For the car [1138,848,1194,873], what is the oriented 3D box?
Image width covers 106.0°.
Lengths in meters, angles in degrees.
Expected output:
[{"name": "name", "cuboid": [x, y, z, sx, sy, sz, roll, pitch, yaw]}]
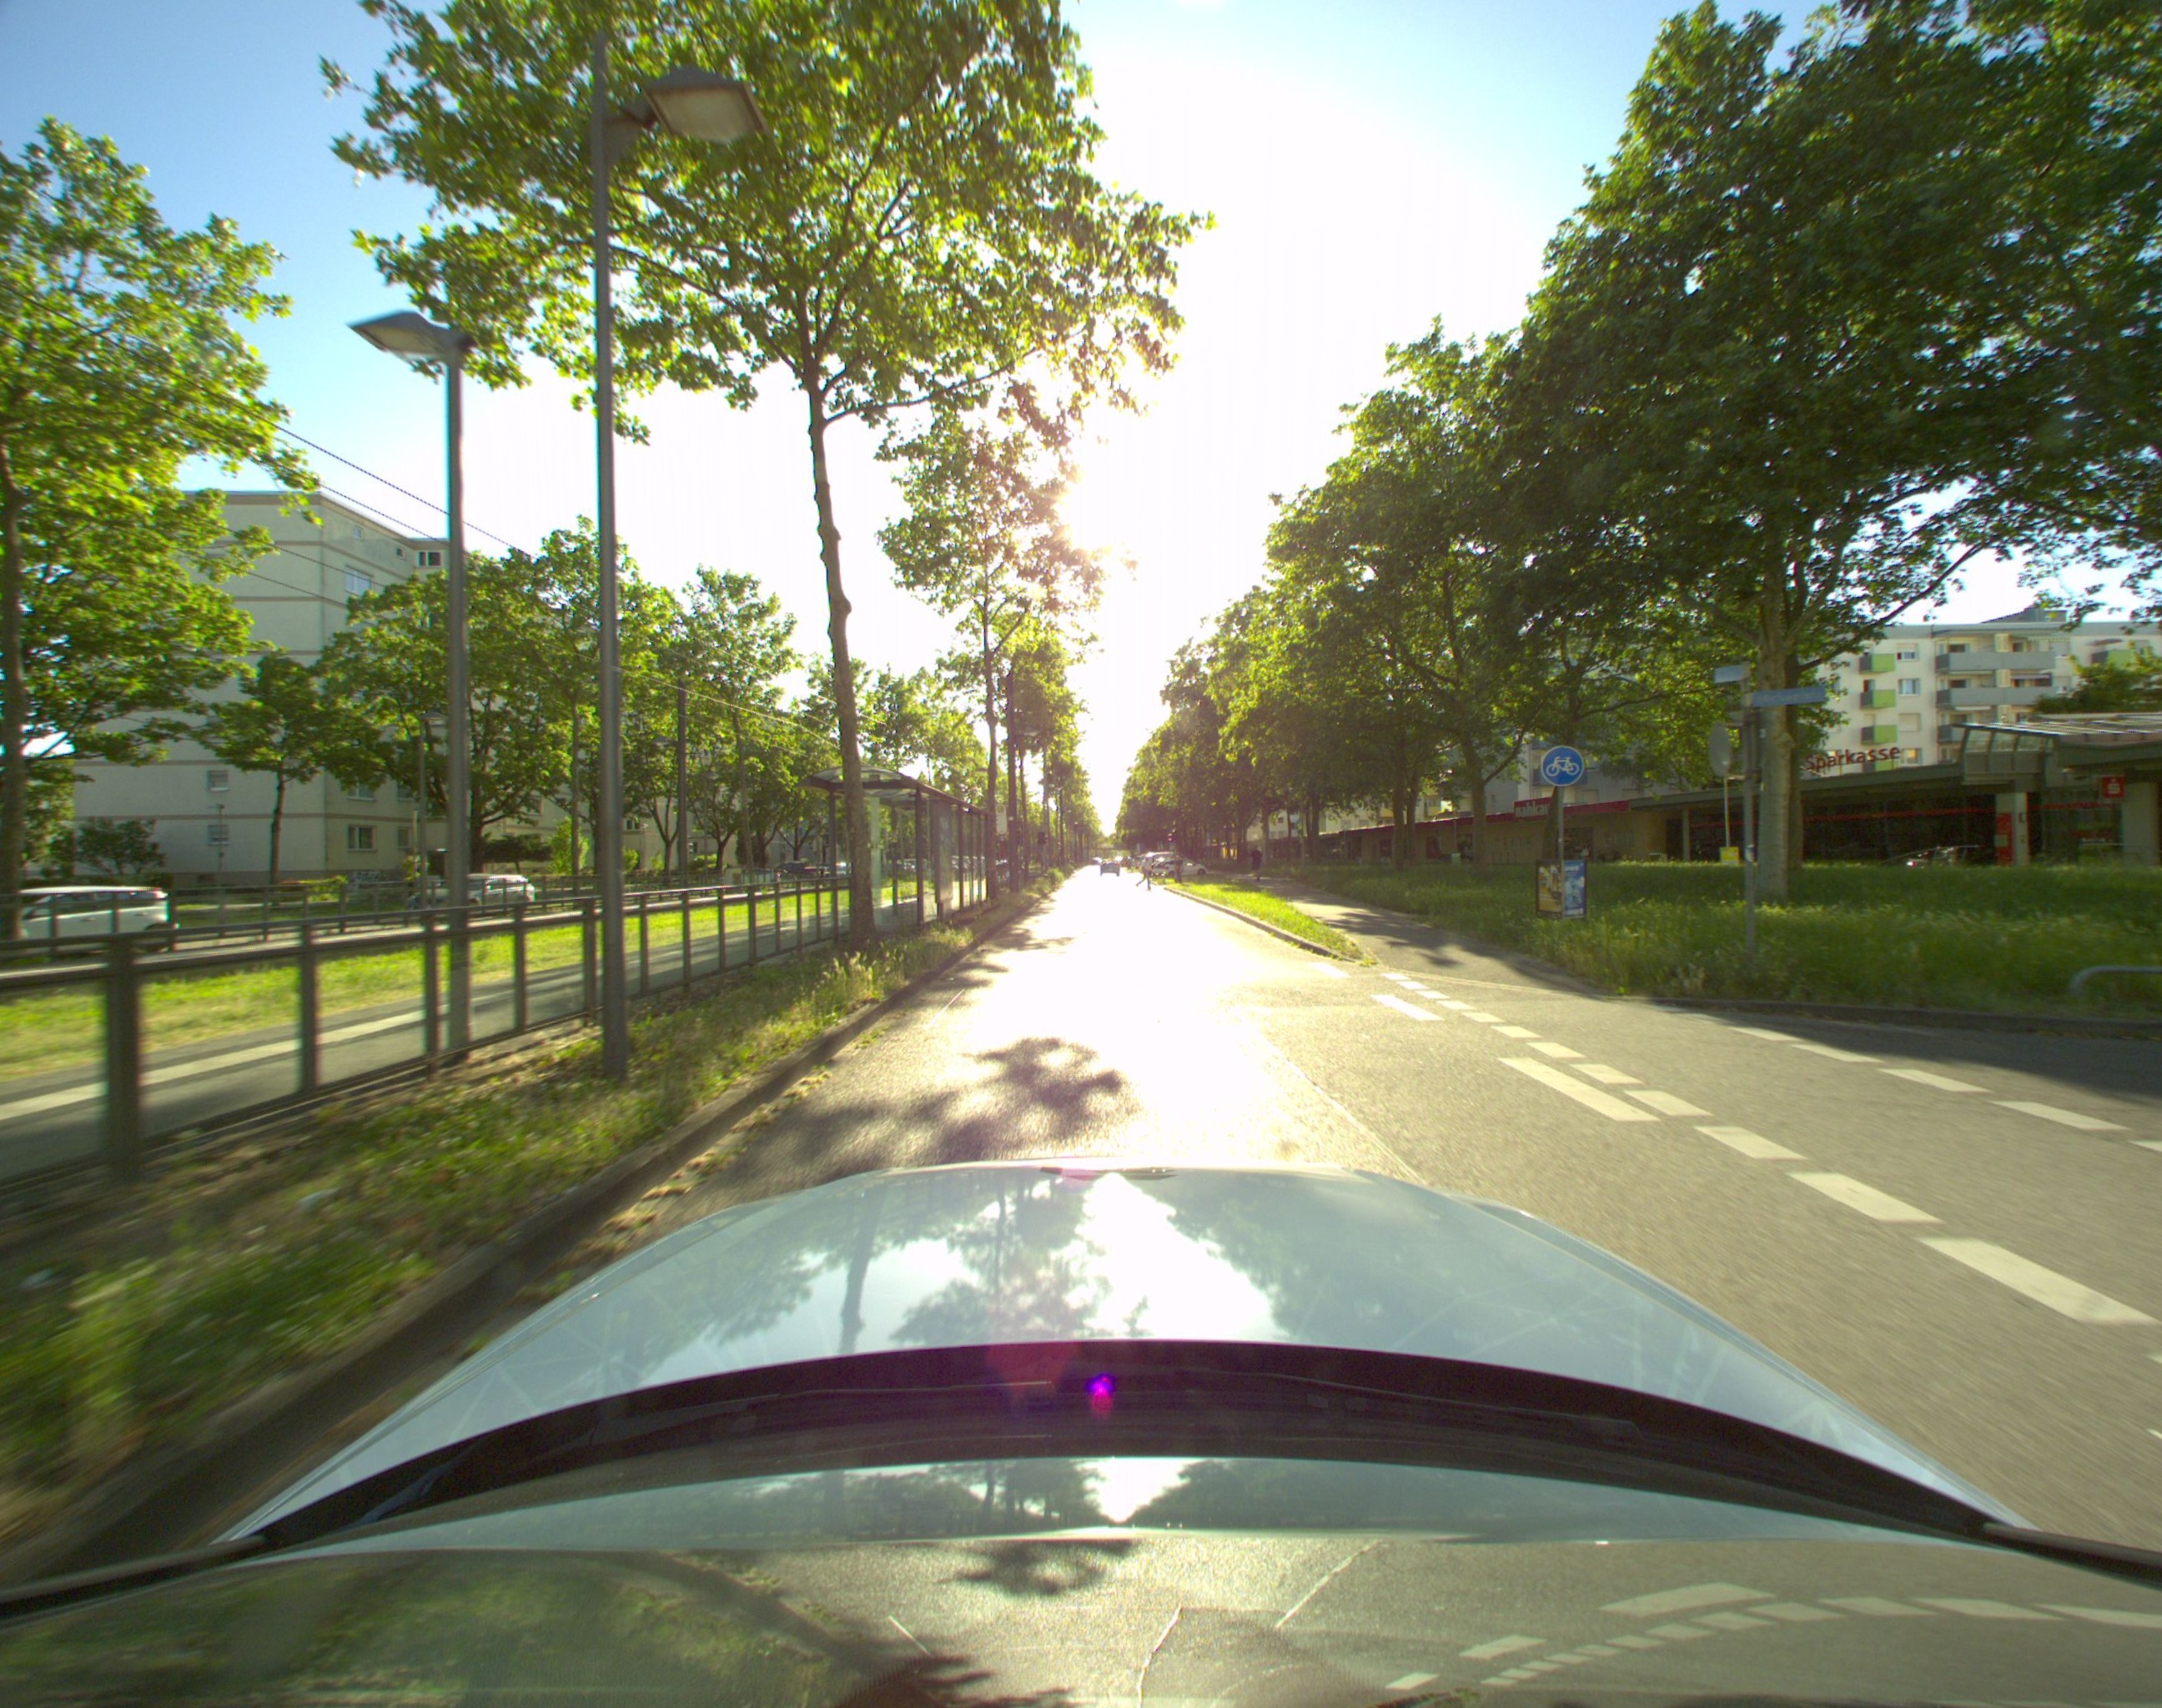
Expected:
[{"name": "car", "cuboid": [7.051, 0.507, 67.409, 4.694, 1.853, 1.809, -2, -1, -39]}]

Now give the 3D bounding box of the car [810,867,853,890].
[{"name": "car", "cuboid": [-18.162, 1.770, 59.362, 1.707, 1.546, 3.936, -1, 0, 3]}]

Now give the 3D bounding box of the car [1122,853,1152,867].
[{"name": "car", "cuboid": [7.854, 0.836, 113.786, 4.106, 1.811, 1.632, -2, -1, -39]}]

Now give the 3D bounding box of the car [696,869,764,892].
[{"name": "car", "cuboid": [-23.744, 1.777, 55.166, 1.817, 1.435, 3.849, -2, 0, 42]}]

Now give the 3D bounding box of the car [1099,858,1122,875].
[{"name": "car", "cuboid": [2.557, 1.065, 72.002, 1.915, 1.411, 4.000, 0, 0, 1]}]

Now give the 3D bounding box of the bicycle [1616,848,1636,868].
[{"name": "bicycle", "cuboid": [31.500, 0.232, 47.103, 0.592, 1.179, 1.861, 0, 0, 23]}]

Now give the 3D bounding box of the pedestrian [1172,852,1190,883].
[{"name": "pedestrian", "cuboid": [5.639, 0.744, 45.940, 0.715, 1.706, 0.647, -2, -1, -33]}]

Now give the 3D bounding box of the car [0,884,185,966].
[{"name": "car", "cuboid": [-22.595, 1.507, 17.701, 1.706, 1.546, 3.937, -1, 0, 4]}]

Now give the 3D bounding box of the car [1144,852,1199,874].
[{"name": "car", "cuboid": [7.105, 0.715, 63.751, 4.011, 1.429, 1.782, -4, 0, -31]}]

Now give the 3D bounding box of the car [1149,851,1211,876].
[{"name": "car", "cuboid": [6.958, 0.678, 57.221, 4.011, 1.469, 1.743, -4, 0, -31]}]

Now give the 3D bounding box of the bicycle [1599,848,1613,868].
[{"name": "bicycle", "cuboid": [31.346, 0.241, 48.632, 0.591, 1.179, 1.862, 0, -1, 29]}]

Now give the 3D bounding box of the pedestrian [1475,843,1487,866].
[{"name": "pedestrian", "cuboid": [29.389, 0.035, 59.796, 0.494, 1.700, 0.715, -1, 0, -4]}]

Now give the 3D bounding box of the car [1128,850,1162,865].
[{"name": "car", "cuboid": [7.901, 0.468, 100.135, 4.049, 1.705, 1.740, -2, -1, -40]}]

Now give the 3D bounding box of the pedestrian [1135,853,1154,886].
[{"name": "pedestrian", "cuboid": [3.365, 0.800, 43.128, 0.835, 1.722, 0.833, -2, 0, 16]}]

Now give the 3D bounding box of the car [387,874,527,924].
[{"name": "car", "cuboid": [-22.613, 1.593, 29.756, 1.707, 1.546, 4.203, -1, 0, 2]}]

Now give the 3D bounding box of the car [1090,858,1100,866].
[{"name": "car", "cuboid": [2.502, 1.423, 145.911, 1.842, 1.535, 3.868, -1, 0, 2]}]

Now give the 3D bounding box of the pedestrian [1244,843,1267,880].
[{"name": "pedestrian", "cuboid": [8.967, 0.373, 41.810, 0.790, 1.885, 0.934, -1, 0, 35]}]

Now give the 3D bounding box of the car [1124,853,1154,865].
[{"name": "car", "cuboid": [7.360, 0.633, 103.419, 3.808, 1.470, 1.631, -2, -1, -43]}]

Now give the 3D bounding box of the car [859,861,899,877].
[{"name": "car", "cuboid": [-22.871, 1.722, 92.150, 4.106, 1.646, 1.631, -1, -2, -41]}]

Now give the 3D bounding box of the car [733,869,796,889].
[{"name": "car", "cuboid": [-22.797, 1.796, 58.779, 3.846, 1.246, 1.818, -1, 0, -41]}]

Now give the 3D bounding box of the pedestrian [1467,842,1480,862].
[{"name": "pedestrian", "cuboid": [28.775, -0.166, 59.663, 0.530, 1.430, 0.715, -1, 0, -4]}]

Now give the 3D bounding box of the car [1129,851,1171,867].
[{"name": "car", "cuboid": [6.973, 0.511, 81.933, 4.208, 1.412, 1.699, -2, -1, -43]}]

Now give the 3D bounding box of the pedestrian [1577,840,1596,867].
[{"name": "pedestrian", "cuboid": [30.281, -0.030, 48.775, 0.669, 1.584, 0.715, -1, 0, -4]}]
